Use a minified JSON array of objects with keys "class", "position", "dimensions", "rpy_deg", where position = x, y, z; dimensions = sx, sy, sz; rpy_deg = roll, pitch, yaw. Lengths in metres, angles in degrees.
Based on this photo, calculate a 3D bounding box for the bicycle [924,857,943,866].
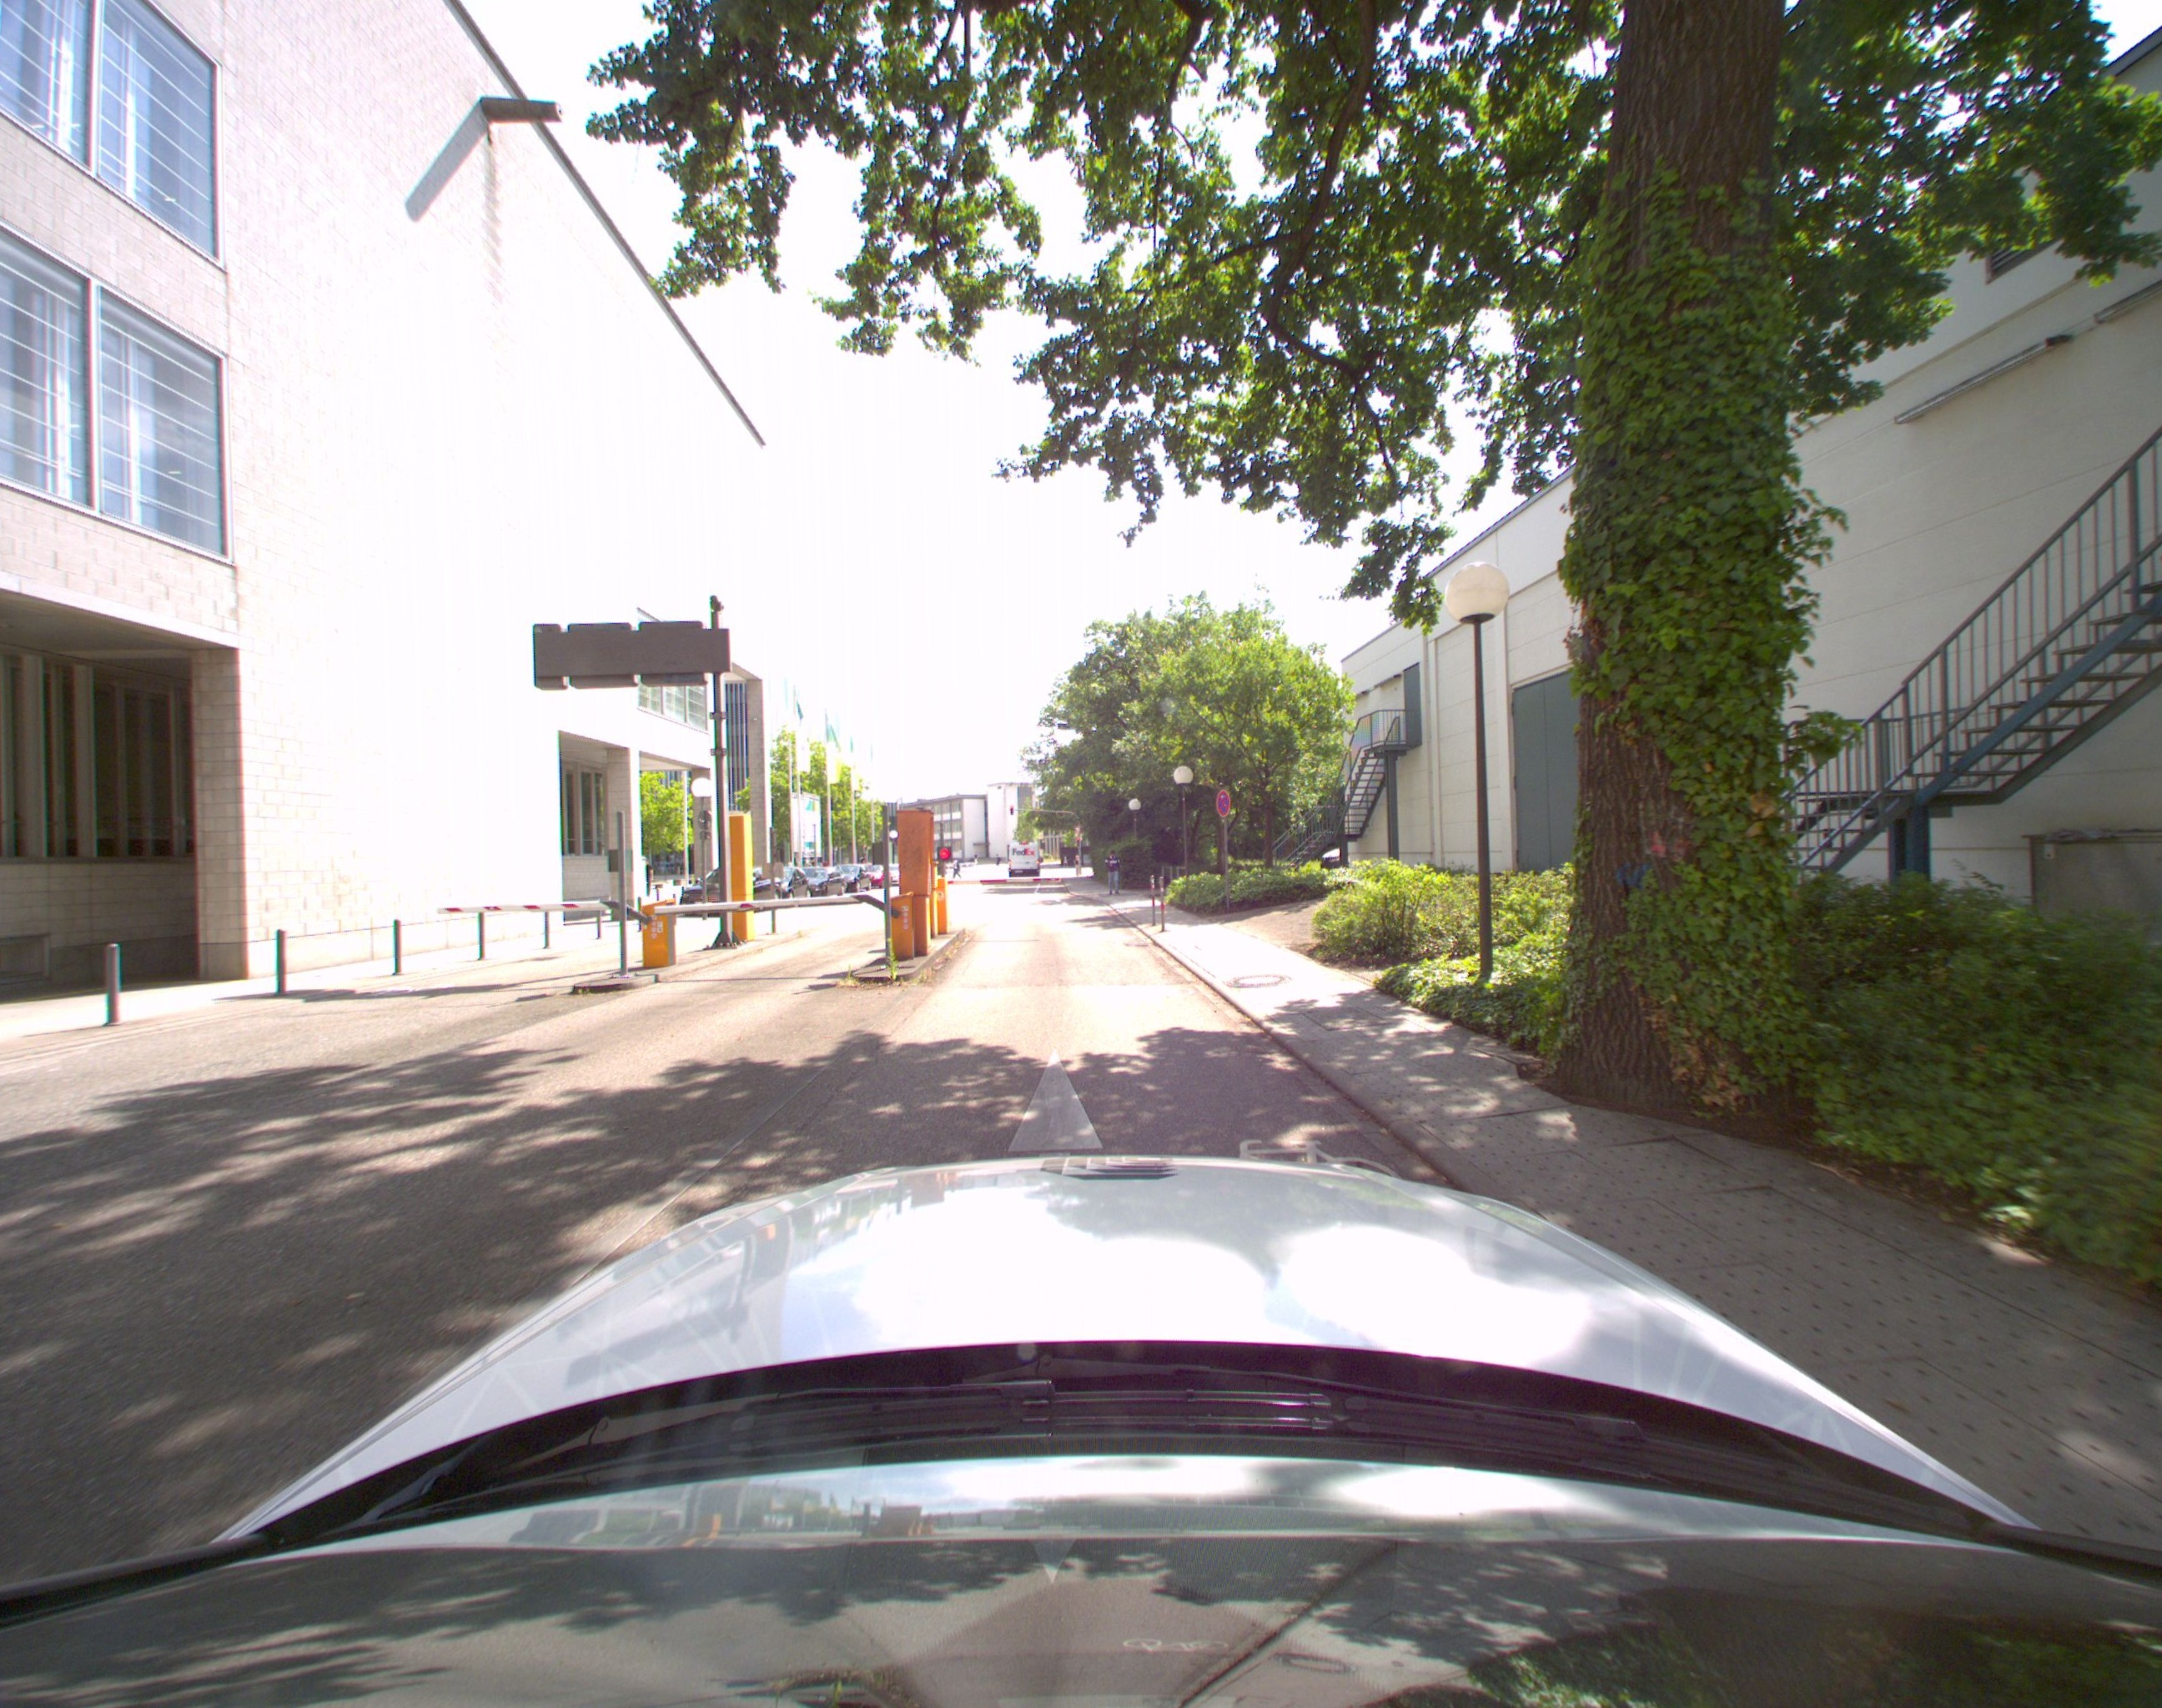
[{"class":"bicycle","position":[-24.435,1.294,135.190],"dimensions":[2.981,1.363,1.104],"rpy_deg":[-1,0,-40]}]

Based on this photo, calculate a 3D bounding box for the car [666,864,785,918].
[{"class":"car","position":[-11.093,1.094,25.788],"dimensions":[1.855,1.467,4.714],"rpy_deg":[0,0,-2]}]

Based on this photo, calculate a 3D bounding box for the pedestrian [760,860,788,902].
[{"class":"pedestrian","position":[-15.387,1.344,40.819],"dimensions":[0.983,2.013,1.162],"rpy_deg":[-2,0,-7]}]

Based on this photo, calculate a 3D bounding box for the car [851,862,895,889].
[{"class":"car","position":[-12.286,1.235,48.288],"dimensions":[1.672,1.467,3.908],"rpy_deg":[0,0,-2]}]

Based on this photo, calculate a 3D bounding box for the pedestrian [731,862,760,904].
[{"class":"pedestrian","position":[-16.599,1.423,40.349],"dimensions":[0.983,2.013,1.162],"rpy_deg":[-2,0,-7]}]

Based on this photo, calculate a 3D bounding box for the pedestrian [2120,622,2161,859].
[{"class":"pedestrian","position":[9.697,-0.985,6.740],"dimensions":[0.923,2.013,0.950],"rpy_deg":[-2,0,1]}]

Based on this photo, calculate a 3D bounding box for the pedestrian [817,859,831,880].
[{"class":"pedestrian","position":[-20.168,1.215,64.005],"dimensions":[0.768,1.597,0.798],"rpy_deg":[-2,0,-1]}]

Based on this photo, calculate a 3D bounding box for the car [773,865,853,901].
[{"class":"car","position":[-11.631,1.215,35.734],"dimensions":[1.854,1.378,5.014],"rpy_deg":[0,0,-1]}]

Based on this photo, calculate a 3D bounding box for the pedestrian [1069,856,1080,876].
[{"class":"pedestrian","position":[-0.536,0.952,65.405],"dimensions":[0.730,1.576,0.773],"rpy_deg":[-1,0,-7]}]

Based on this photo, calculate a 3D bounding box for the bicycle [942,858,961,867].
[{"class":"bicycle","position":[-20.805,1.343,130.831],"dimensions":[2.981,1.363,1.104],"rpy_deg":[-1,0,-40]}]

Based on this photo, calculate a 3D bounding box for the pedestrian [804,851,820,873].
[{"class":"pedestrian","position":[-24.050,0.727,72.855],"dimensions":[0.845,1.876,1.011],"rpy_deg":[-2,0,20]}]

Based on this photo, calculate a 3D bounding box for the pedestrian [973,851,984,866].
[{"class":"pedestrian","position":[-14.151,0.604,112.800],"dimensions":[1.133,2.013,1.160],"rpy_deg":[-2,0,11]}]

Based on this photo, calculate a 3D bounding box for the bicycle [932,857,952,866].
[{"class":"bicycle","position":[-22.683,1.286,133.100],"dimensions":[2.981,1.363,1.261],"rpy_deg":[-1,0,-40]}]

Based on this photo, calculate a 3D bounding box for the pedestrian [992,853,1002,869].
[{"class":"pedestrian","position":[-9.942,0.805,96.915],"dimensions":[1.079,1.870,0.831],"rpy_deg":[-2,0,-4]}]

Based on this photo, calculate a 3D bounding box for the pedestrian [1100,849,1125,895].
[{"class":"pedestrian","position":[1.187,0.656,30.770],"dimensions":[0.738,1.674,1.254],"rpy_deg":[-2,0,-6]}]

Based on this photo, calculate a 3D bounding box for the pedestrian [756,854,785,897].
[{"class":"pedestrian","position":[-15.062,1.024,39.577],"dimensions":[0.983,2.013,1.162],"rpy_deg":[-2,0,-7]}]

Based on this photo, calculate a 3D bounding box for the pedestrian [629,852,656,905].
[{"class":"pedestrian","position":[-20.259,1.134,37.623],"dimensions":[0.750,2.422,0.743],"rpy_deg":[-2,0,32]}]

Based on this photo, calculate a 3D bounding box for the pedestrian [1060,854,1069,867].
[{"class":"pedestrian","position":[-1.943,0.769,97.381],"dimensions":[0.828,1.523,0.809],"rpy_deg":[-2,0,-22]}]

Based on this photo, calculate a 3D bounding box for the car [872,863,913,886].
[{"class":"car","position":[-12.216,1.301,53.011],"dimensions":[1.672,1.395,4.659],"rpy_deg":[0,0,-2]}]

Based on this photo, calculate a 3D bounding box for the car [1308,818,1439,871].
[{"class":"car","position":[12.397,-0.409,34.725],"dimensions":[4.813,2.013,2.060],"rpy_deg":[-2,0,-2]}]

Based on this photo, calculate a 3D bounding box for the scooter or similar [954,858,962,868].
[{"class":"scooter or similar","position":[-14.946,1.083,98.687],"dimensions":[0.717,1.178,2.713],"rpy_deg":[-2,0,-13]}]

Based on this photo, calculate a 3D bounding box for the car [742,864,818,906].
[{"class":"car","position":[-11.436,1.144,31.177],"dimensions":[1.635,1.467,3.703],"rpy_deg":[0,0,-3]}]

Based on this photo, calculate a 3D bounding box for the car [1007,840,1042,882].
[{"class":"car","position":[-3.713,0.428,54.167],"dimensions":[2.090,2.566,5.596],"rpy_deg":[-2,0,-3]}]

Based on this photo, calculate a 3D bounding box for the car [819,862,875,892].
[{"class":"car","position":[-12.182,1.175,42.649],"dimensions":[1.742,1.467,4.195],"rpy_deg":[0,0,-1]}]

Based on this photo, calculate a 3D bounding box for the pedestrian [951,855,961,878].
[{"class":"pedestrian","position":[-10.153,1.009,66.173],"dimensions":[0.717,1.859,0.770],"rpy_deg":[-2,0,-1]}]

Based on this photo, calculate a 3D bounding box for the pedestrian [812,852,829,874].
[{"class":"pedestrian","position":[-23.006,0.791,71.813],"dimensions":[0.854,1.819,1.102],"rpy_deg":[-2,0,21]}]

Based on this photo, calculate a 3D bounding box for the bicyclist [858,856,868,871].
[{"class":"bicyclist","position":[-25.950,1.116,97.046],"dimensions":[0.785,1.817,1.001],"rpy_deg":[-2,0,7]}]
